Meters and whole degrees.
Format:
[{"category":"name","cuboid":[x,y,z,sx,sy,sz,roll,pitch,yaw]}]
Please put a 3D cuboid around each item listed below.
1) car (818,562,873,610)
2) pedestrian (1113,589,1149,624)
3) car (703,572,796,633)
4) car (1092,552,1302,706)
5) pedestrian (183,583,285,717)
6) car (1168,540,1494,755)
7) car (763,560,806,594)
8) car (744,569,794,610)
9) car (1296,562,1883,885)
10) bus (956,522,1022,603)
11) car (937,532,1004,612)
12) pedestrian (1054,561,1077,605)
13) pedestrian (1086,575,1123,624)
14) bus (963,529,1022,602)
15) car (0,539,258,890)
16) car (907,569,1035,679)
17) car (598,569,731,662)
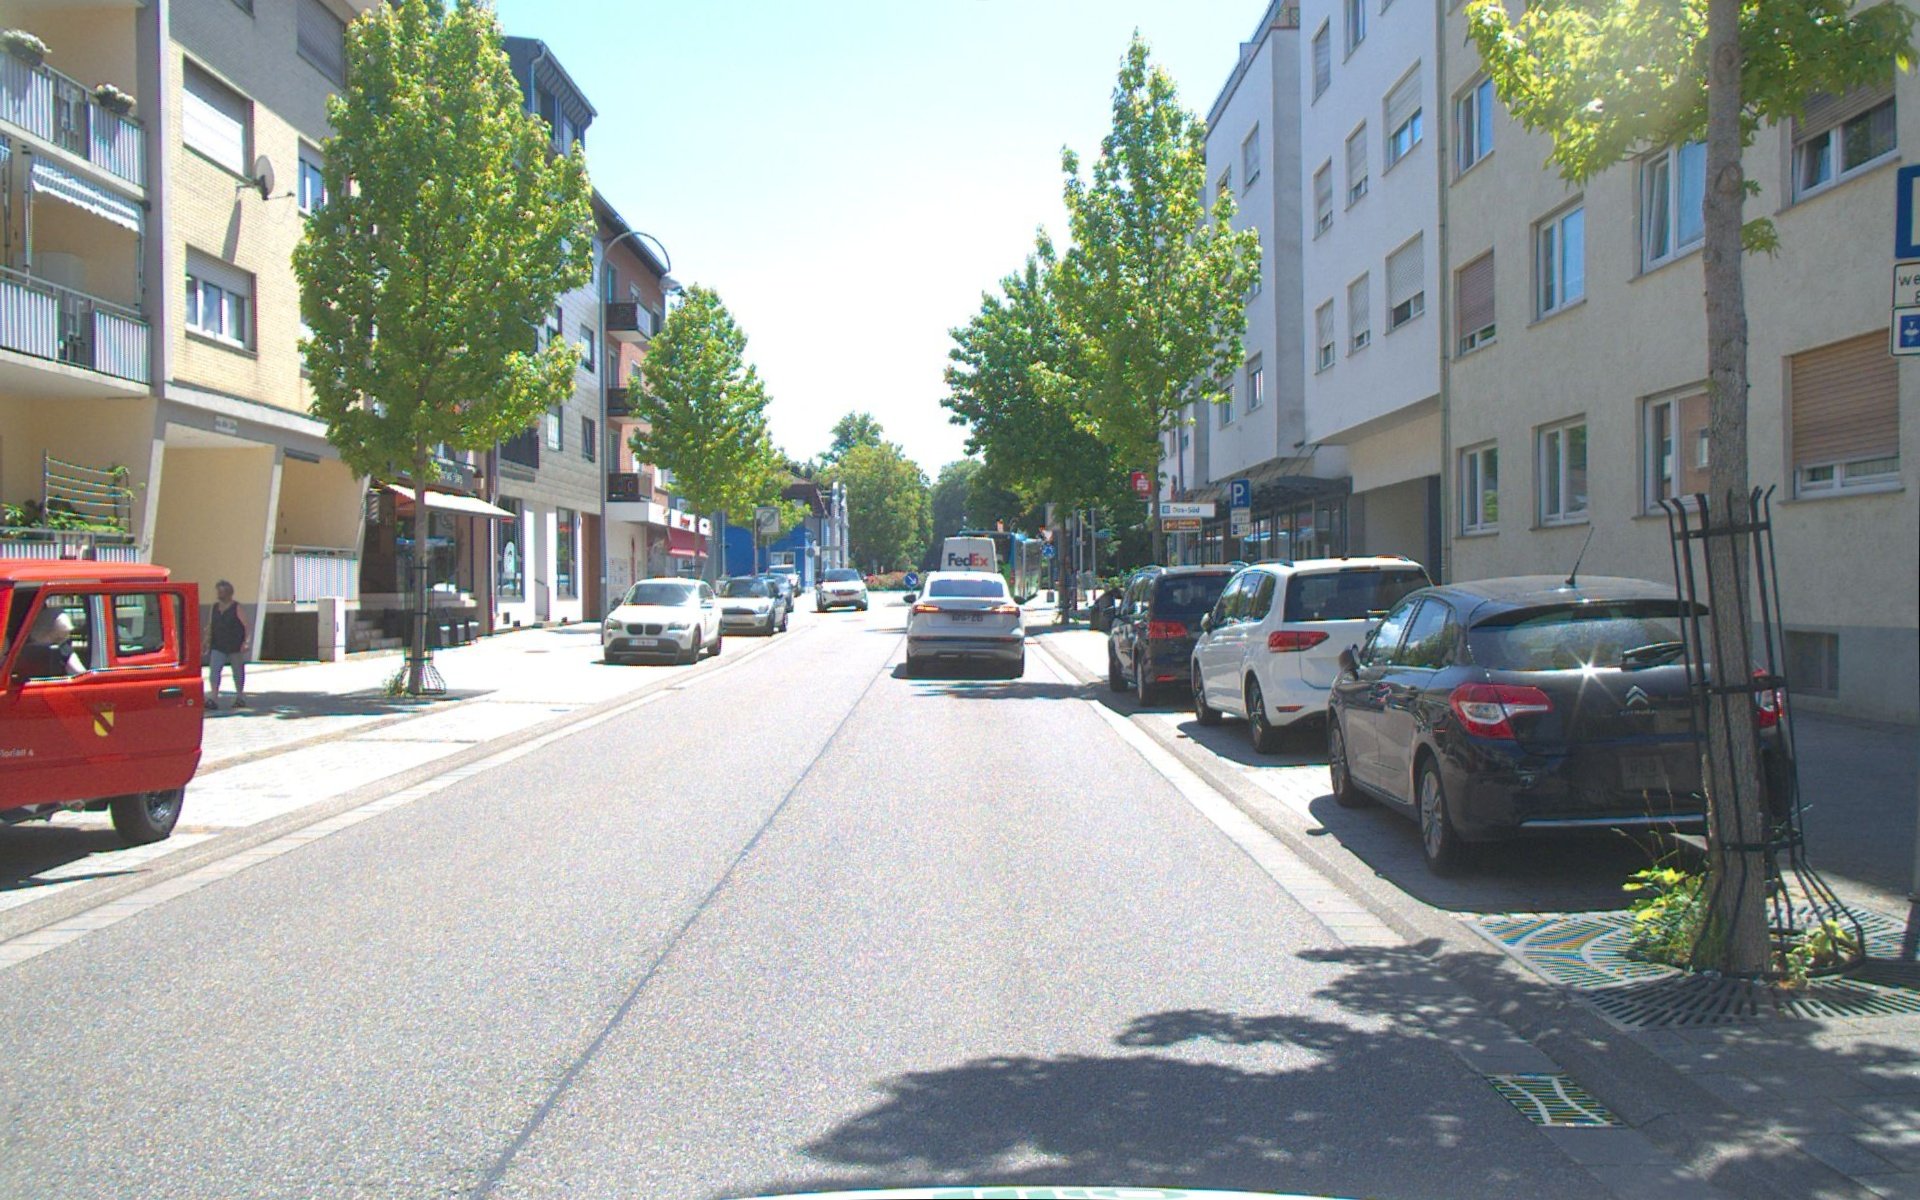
[{"category":"car","cuboid":[-4.414,-0.552,64.214,1.818,1.721,4.150,-2,1,-1]},{"category":"pedestrian","cuboid":[4.407,0.167,42.643,0.887,0.894,0.648,-1,1,5]},{"category":"car","cuboid":[-5.446,0.039,43.264,1.716,1.478,4.402,2,1,2]},{"category":"car","cuboid":[2.920,0.293,21.350,1.819,1.703,4.535,-2,1,-3]},{"category":"pedestrian","cuboid":[-8.625,0.576,19.695,0.683,1.518,1.097,2,1,-1]},{"category":"car","cuboid":[3.367,0.352,16.009,1.858,1.703,4.688,-2,1,-3]},{"category":"car","cuboid":[-9.610,-1.256,90.431,1.833,1.788,3.987,1,0,-13]},{"category":"car","cuboid":[-7.406,-0.418,64.416,1.802,1.521,3.996,-1,1,-5]},{"category":"car","cuboid":[3.353,0.533,9.869,1.857,1.463,4.545,-1,1,1]},{"category":"bus","cuboid":[1.329,-1.583,71.735,2.605,3.277,7.303,1,0,2]},{"category":"car","cuboid":[0.336,-0.923,55.590,2.112,2.484,5.283,1,0,0]},{"category":"pedestrian","cuboid":[3.734,-0.601,58.408,0.703,1.529,0.581,-1,1,-7]},{"category":"pedestrian","cuboid":[3.758,-0.028,43.108,0.887,1.258,0.648,-1,1,-1]},{"category":"bus","cuboid":[1.619,-1.585,79.109,2.605,3.265,7.454,1,0,2]},{"category":"car","cuboid":[-5.589,0.530,9.086,1.717,1.732,4.101,1,1,-1]},{"category":"car","cuboid":[0.118,0.345,27.409,1.953,1.661,3.999,1,1,-2]},{"category":"car","cuboid":[-5.702,0.251,32.396,1.716,1.646,4.401,2,1,1]}]
